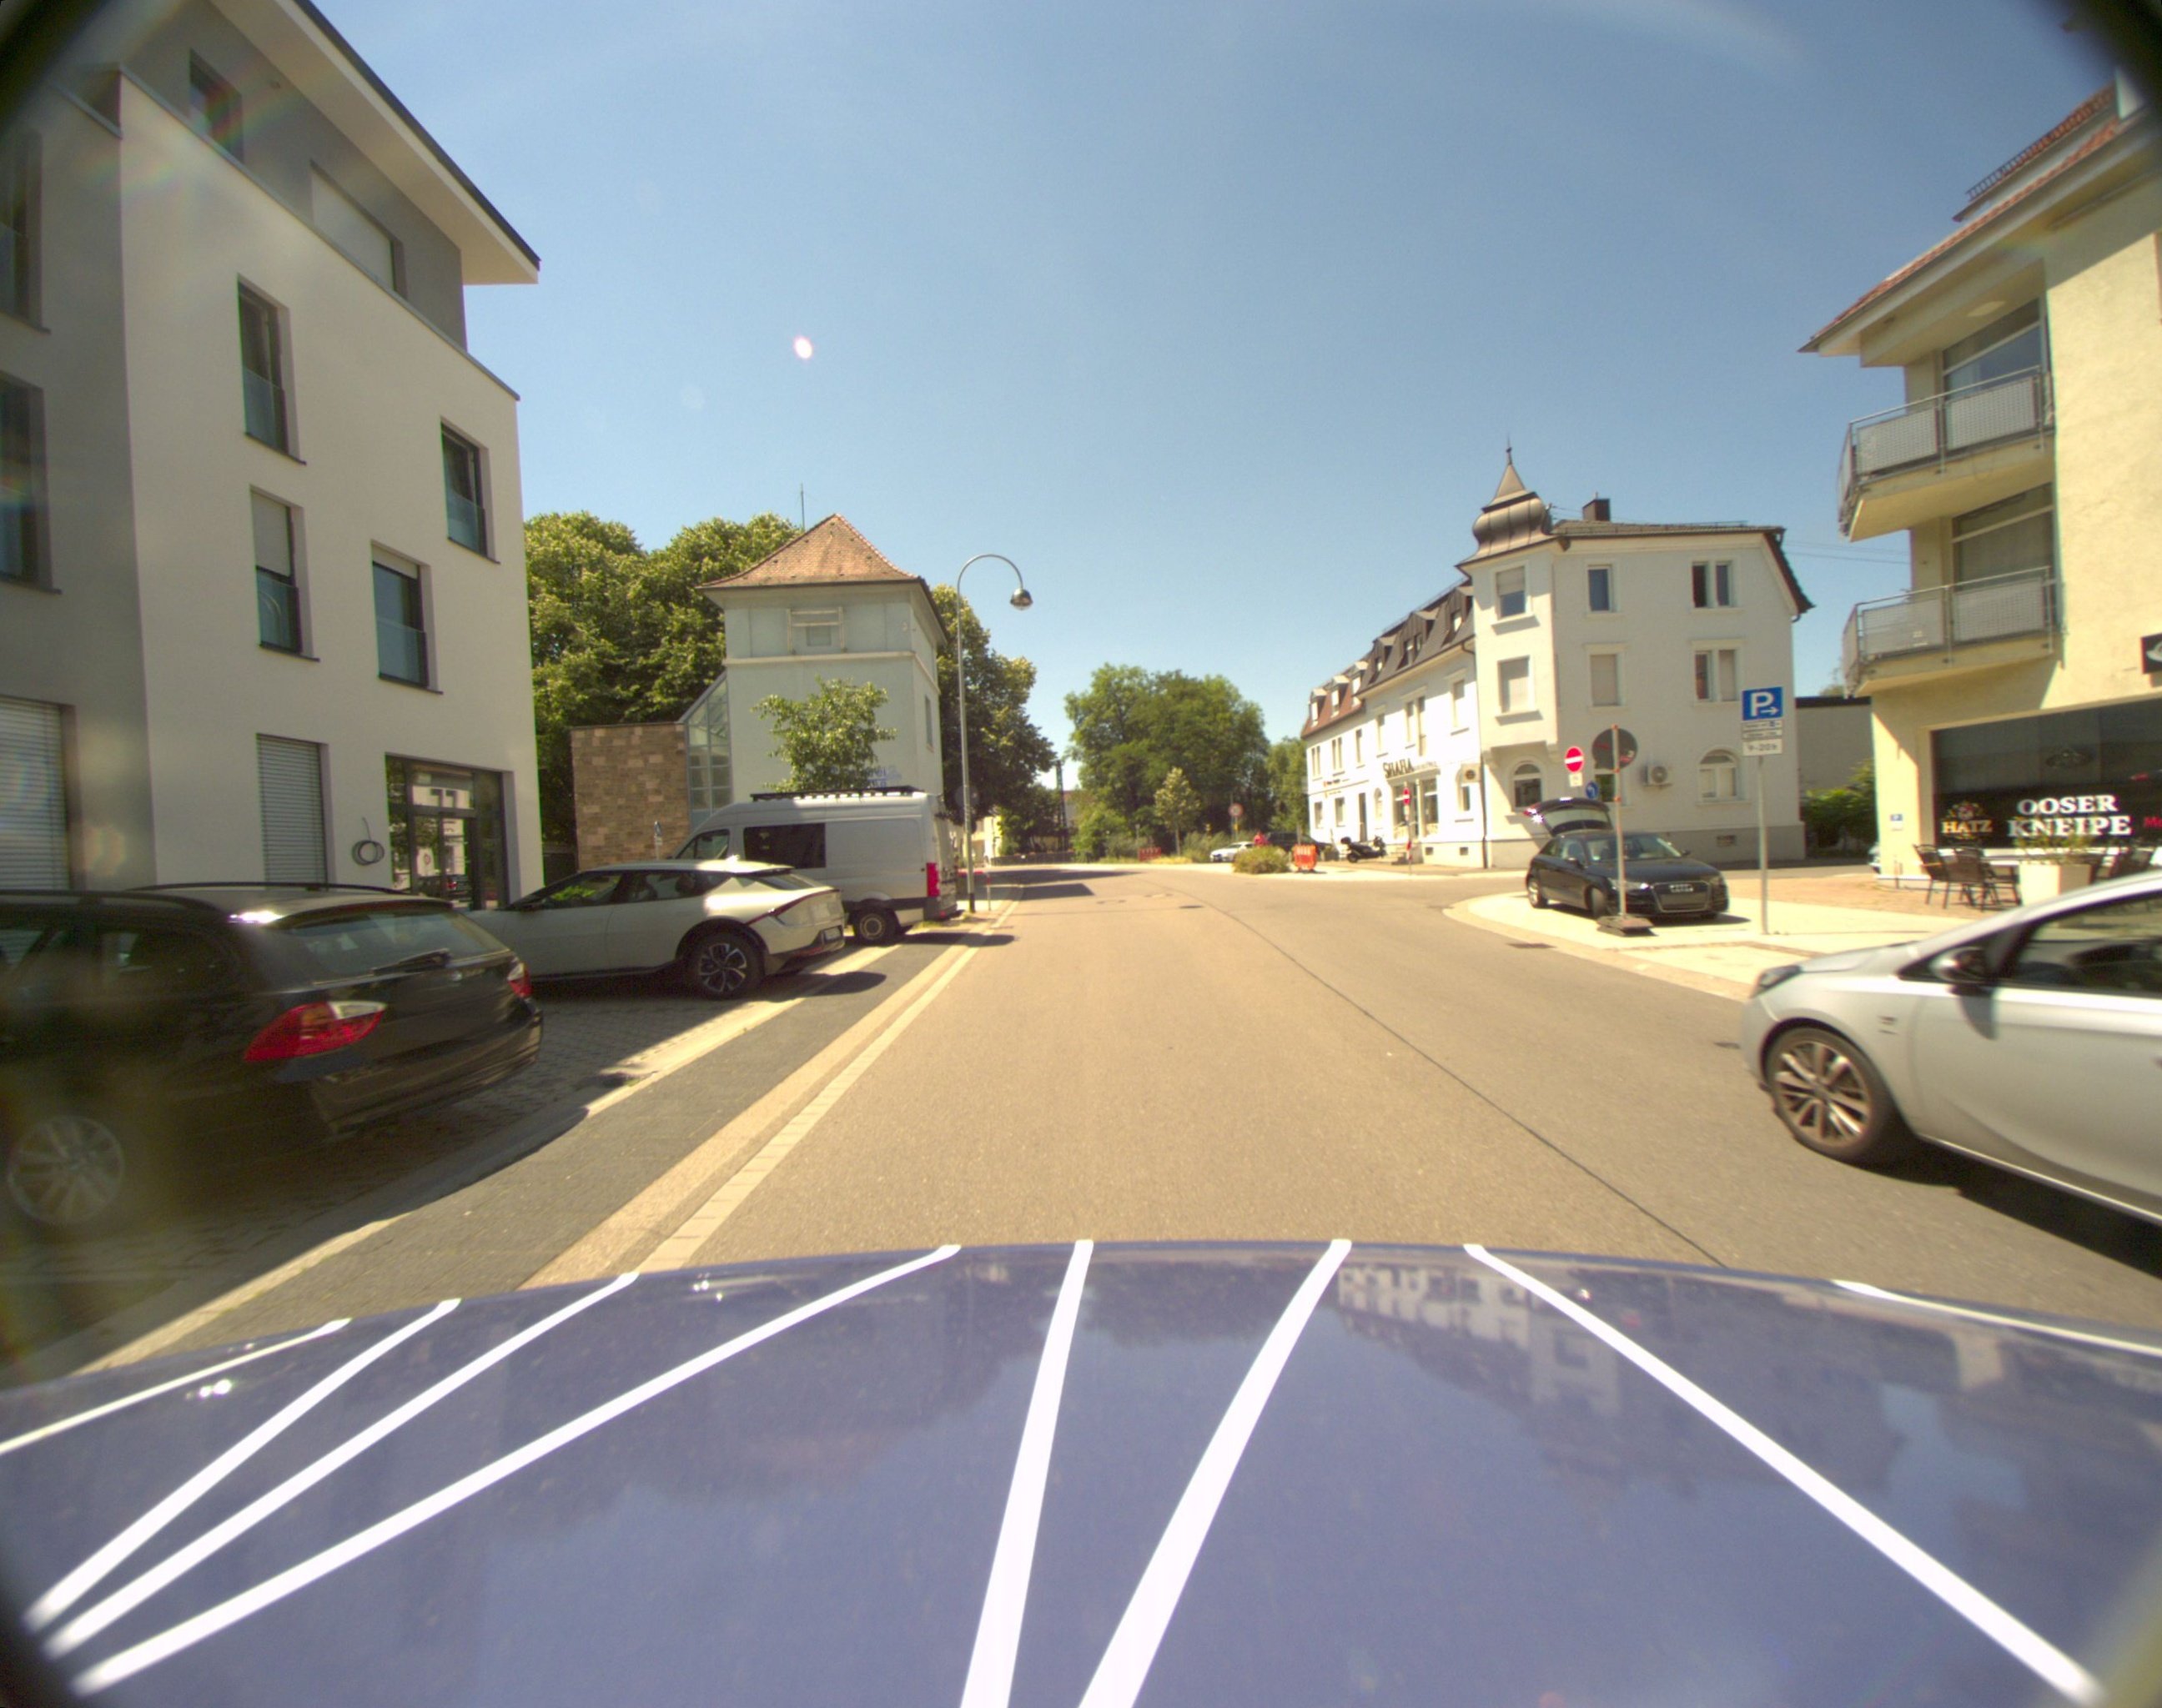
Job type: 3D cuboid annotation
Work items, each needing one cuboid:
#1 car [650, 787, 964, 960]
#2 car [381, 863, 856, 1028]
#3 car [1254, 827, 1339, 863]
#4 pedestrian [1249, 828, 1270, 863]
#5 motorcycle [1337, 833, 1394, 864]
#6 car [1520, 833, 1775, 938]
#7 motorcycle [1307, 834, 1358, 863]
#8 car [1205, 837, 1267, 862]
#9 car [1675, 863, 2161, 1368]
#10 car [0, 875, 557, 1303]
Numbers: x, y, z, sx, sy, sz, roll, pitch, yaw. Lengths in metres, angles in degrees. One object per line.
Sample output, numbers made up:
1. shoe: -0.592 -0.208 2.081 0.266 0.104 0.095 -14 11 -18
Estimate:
1. car: -4.731 0.323 13.700 4.868 2.720 1.850 -2 1 -1
2. car: -5.106 0.970 8.854 4.382 1.520 1.719 -2 1 -1
3. car: 11.542 -0.470 40.937 4.078 1.729 1.815 -2 1 4
4. pedestrian: 9.099 -0.433 38.769 0.758 1.755 0.802 -3 1 -11
5. motorcycle: 13.241 -0.264 35.398 2.322 1.317 0.725 -2 1 1
6. car: 9.211 0.422 12.800 1.900 1.433 3.777 -3 1 10
7. motorcycle: 12.668 -0.274 38.290 2.322 1.317 0.725 -2 1 1
8. car: 10.393 -0.287 50.985 3.946 1.528 1.831 -3 1 -35
9. car: 4.119 0.818 2.247 1.685 1.475 4.086 -1 1 3
10. car: -5.342 0.993 3.632 4.360 1.542 1.651 -2 1 -4
